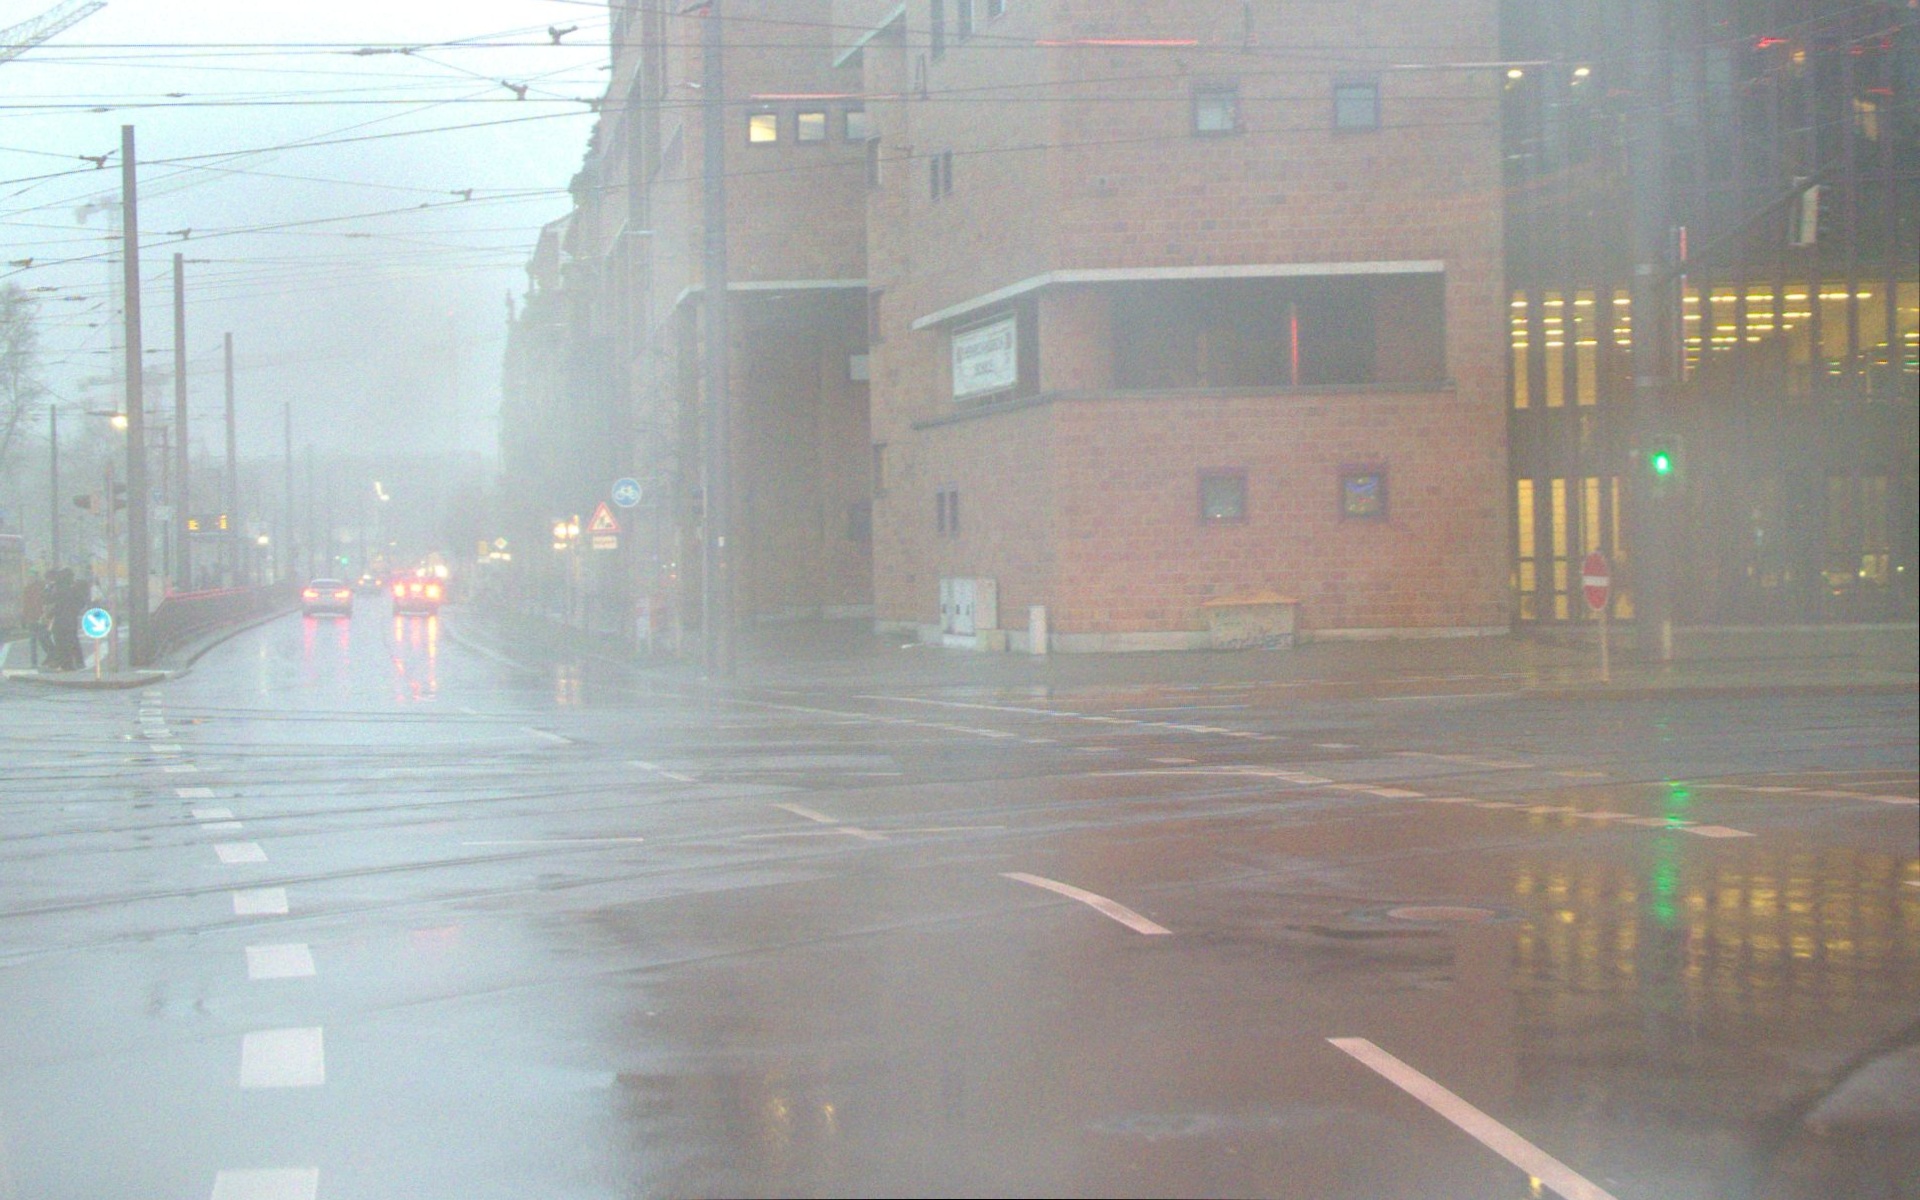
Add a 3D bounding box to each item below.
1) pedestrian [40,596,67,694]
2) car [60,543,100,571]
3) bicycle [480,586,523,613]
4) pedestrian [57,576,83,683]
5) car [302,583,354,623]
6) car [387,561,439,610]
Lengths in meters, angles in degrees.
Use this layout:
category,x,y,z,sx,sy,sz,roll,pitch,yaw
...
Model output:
category,x,y,z,sx,sy,sz,roll,pitch,yaw
pedestrian,-16.191,0.796,61.389,0.433,1.729,0.473,-1,0,-14
car,-43.517,-2.119,170.055,1.681,1.349,3.547,0,0,-10
bicycle,-19.427,-0.031,145.699,1.729,1.051,0.371,-2,1,-10
pedestrian,-15.443,0.505,59.650,0.412,1.839,0.670,-1,0,-14
car,-24.504,0.099,133.281,1.784,1.462,3.149,-1,1,-7
car,-22.922,-0.628,144.083,1.993,2.007,4.001,-1,1,-7
